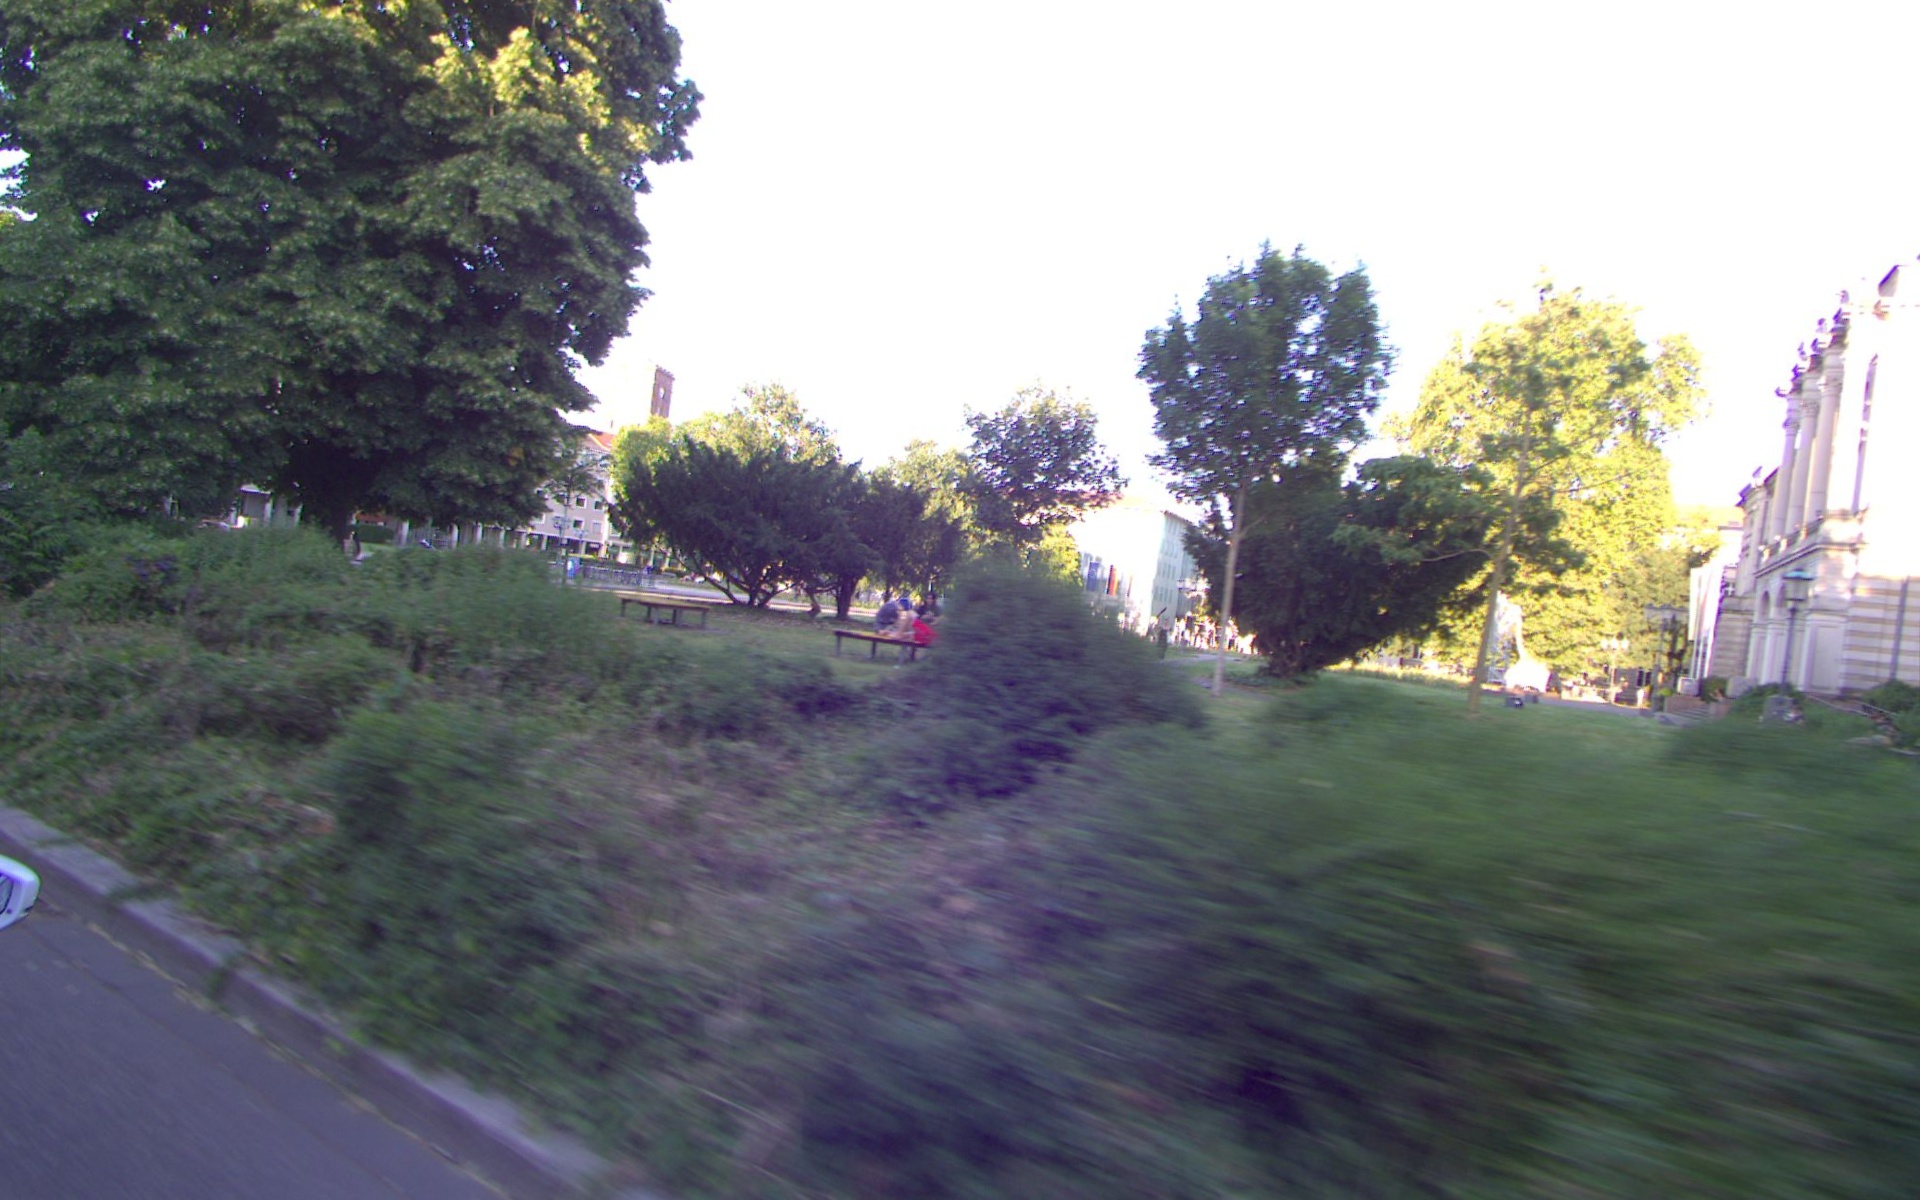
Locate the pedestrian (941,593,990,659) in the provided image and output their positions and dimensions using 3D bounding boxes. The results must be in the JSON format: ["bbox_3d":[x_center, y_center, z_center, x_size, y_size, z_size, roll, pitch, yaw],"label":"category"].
[{"bbox_3d":[0.129,0.586,22.541,0.773,1.364,0.761,7,1,15],"label":"pedestrian"}]

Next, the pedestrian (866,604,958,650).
[{"bbox_3d":[-0.770,0.425,16.245,1.351,0.557,0.541,6,4,12],"label":"pedestrian"}]

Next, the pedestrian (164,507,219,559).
[{"bbox_3d":[-20.481,-1.774,26.819,0.803,1.253,0.683,7,1,1],"label":"pedestrian"}]

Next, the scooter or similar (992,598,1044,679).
[{"bbox_3d":[0.979,0.646,16.742,0.410,1.261,1.220,7,1,19],"label":"scooter or similar"}]

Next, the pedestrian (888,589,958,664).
[{"bbox_3d":[-0.647,0.467,17.618,0.777,1.207,0.807,7,1,35],"label":"pedestrian"}]

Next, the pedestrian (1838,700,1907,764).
[{"bbox_3d":[22.739,3.272,25.092,1.027,1.415,0.694,7,2,32],"label":"pedestrian"}]

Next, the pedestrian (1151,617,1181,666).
[{"bbox_3d":[7.841,1.578,38.202,0.745,1.769,0.772,7,1,28],"label":"pedestrian"}]

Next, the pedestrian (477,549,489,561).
[{"bbox_3d":[-38.587,-3.637,81.394,0.609,0.936,0.512,6,1,6],"label":"pedestrian"}]

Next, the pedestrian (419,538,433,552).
[{"bbox_3d":[-45.056,-4.616,84.864,0.892,1.091,0.614,6,1,-41],"label":"pedestrian"}]

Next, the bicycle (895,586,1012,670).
[{"bbox_3d":[-0.134,0.512,18.668,1.983,1.316,0.620,7,1,27],"label":"bicycle"}]

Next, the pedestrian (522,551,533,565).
[{"bbox_3d":[-34.881,-3.388,81.181,0.610,1.091,0.511,6,1,-8],"label":"pedestrian"}]

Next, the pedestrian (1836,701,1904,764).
[{"bbox_3d":[23.304,3.369,25.777,1.027,1.415,0.694,7,2,32],"label":"pedestrian"}]

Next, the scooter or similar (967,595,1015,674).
[{"bbox_3d":[0.537,0.588,17.201,0.410,1.261,1.220,7,1,15],"label":"scooter or similar"}]

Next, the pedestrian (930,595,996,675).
[{"bbox_3d":[0.049,0.567,16.519,0.657,1.207,0.789,6,1,-31],"label":"pedestrian"}]

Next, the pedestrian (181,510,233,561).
[{"bbox_3d":[-20.566,-1.755,27.474,0.857,1.277,0.598,7,1,0],"label":"pedestrian"}]

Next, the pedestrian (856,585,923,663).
[{"bbox_3d":[-1.189,0.411,17.046,0.735,1.207,0.722,7,1,35],"label":"pedestrian"}]

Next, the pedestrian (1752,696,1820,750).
[{"bbox_3d":[28.392,4.225,34.594,1.541,1.576,0.800,7,2,32],"label":"pedestrian"}]

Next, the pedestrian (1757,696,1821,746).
[{"bbox_3d":[27.767,4.052,33.706,1.428,1.415,0.694,7,2,32],"label":"pedestrian"}]

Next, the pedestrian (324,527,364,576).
[{"bbox_3d":[-18.715,-1.480,30.575,0.804,1.359,0.597,7,1,26],"label":"pedestrian"}]

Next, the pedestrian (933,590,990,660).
[{"bbox_3d":[0.035,0.539,21.659,0.868,1.364,0.920,7,1,16],"label":"pedestrian"}]

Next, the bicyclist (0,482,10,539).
[{"bbox_3d":[-28.569,-2.694,29.292,0.585,1.653,1.063,7,1,22],"label":"bicyclist"}]
